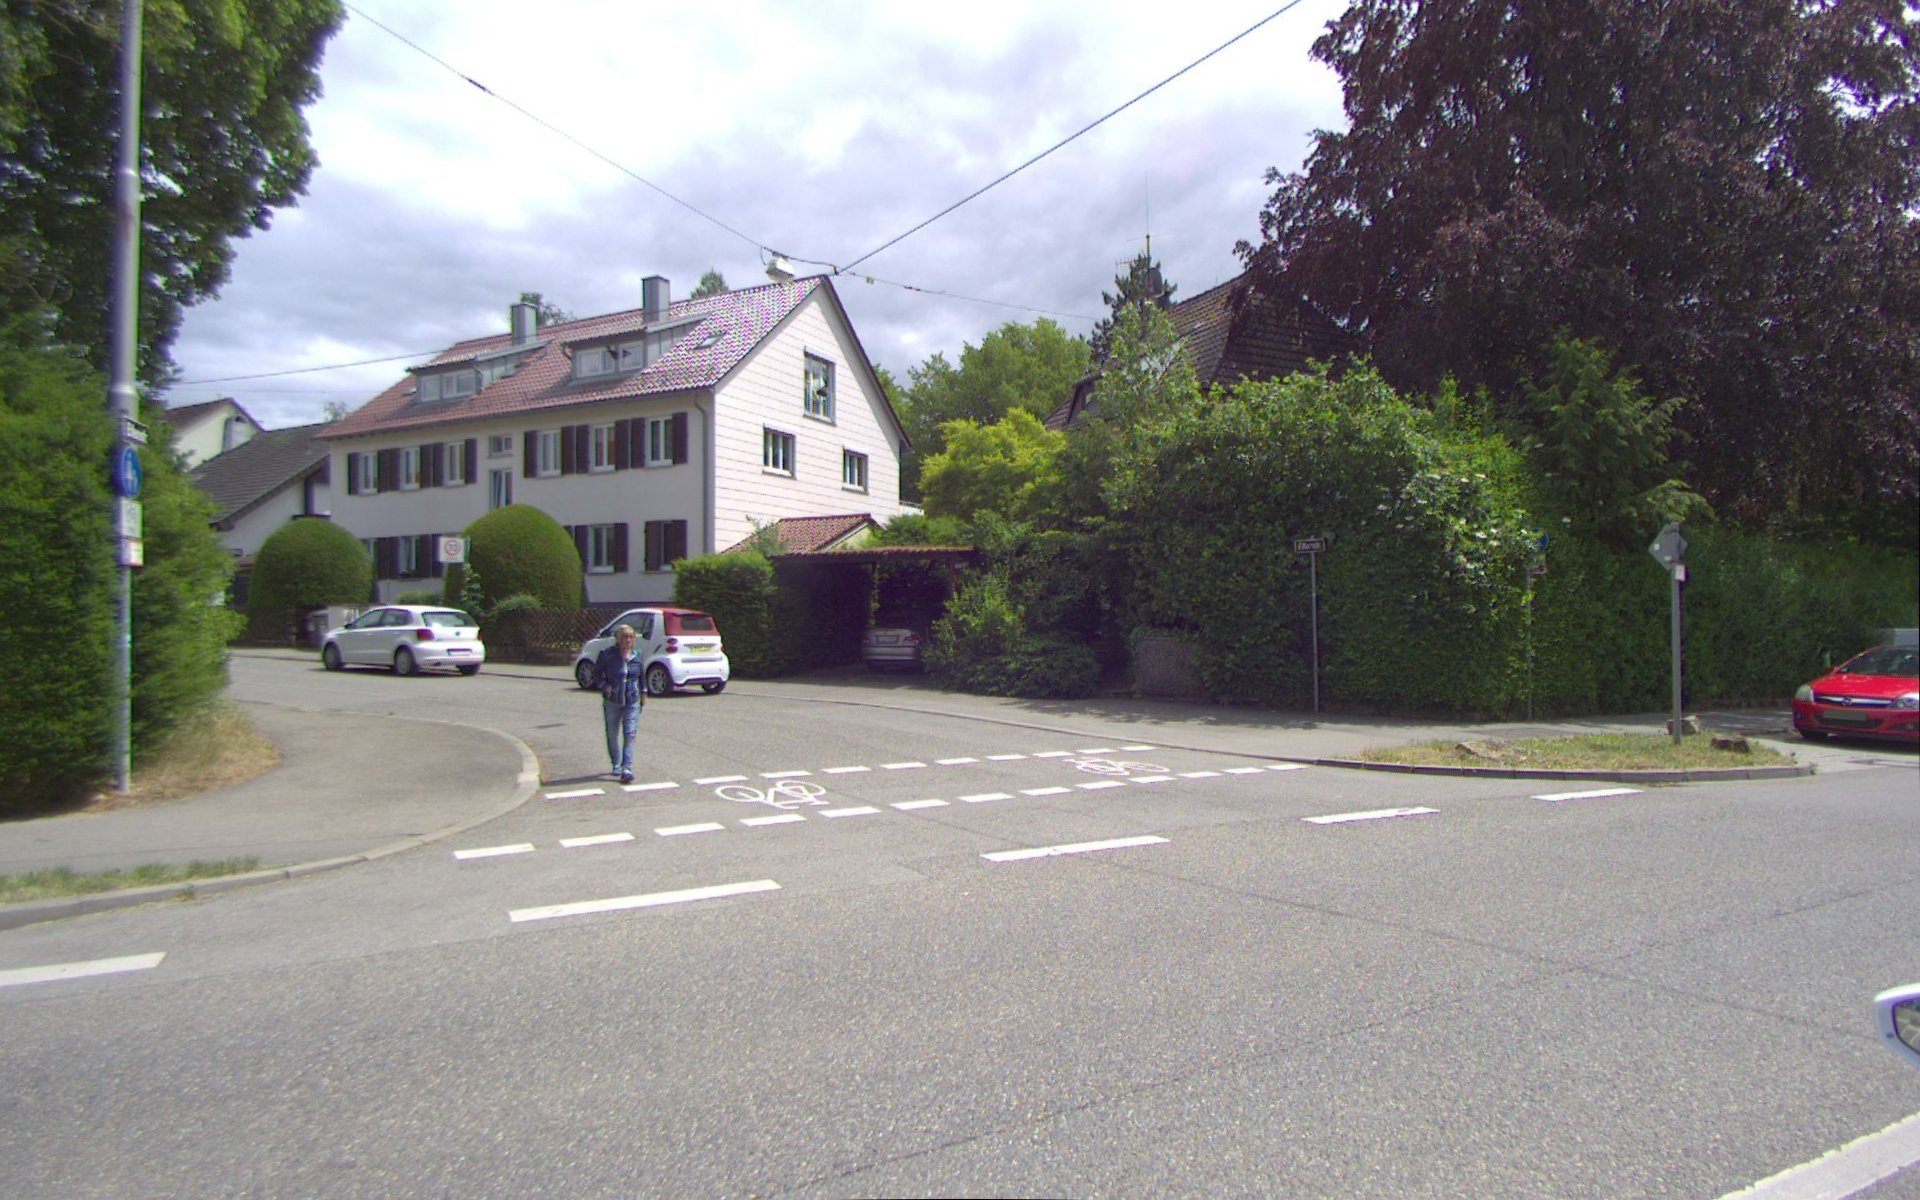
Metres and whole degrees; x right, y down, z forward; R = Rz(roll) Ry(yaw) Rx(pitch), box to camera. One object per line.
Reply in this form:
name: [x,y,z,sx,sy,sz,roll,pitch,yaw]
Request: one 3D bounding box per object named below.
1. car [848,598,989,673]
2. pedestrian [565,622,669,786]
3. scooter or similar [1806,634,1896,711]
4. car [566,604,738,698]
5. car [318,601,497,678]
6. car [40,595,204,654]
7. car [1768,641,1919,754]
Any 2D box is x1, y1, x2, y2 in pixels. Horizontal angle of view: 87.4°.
car: [-0.843,0.760,23.034,1.695,1.530,3.998,1,0,23]
pedestrian: [-3.388,0.993,9.933,0.718,1.528,0.627,1,-1,29]
scooter or similar: [17.326,1.388,19.537,1.625,1.431,0.669,1,0,-23]
car: [-5.752,0.902,18.757,2.727,1.576,1.587,1,-1,28]
car: [-11.971,0.815,21.754,3.469,1.474,1.713,1,-1,27]
car: [-22.510,0.635,26.961,4.199,1.424,1.705,1,-1,24]
car: [14.100,1.349,14.733,4.503,1.396,1.656,1,0,-24]
